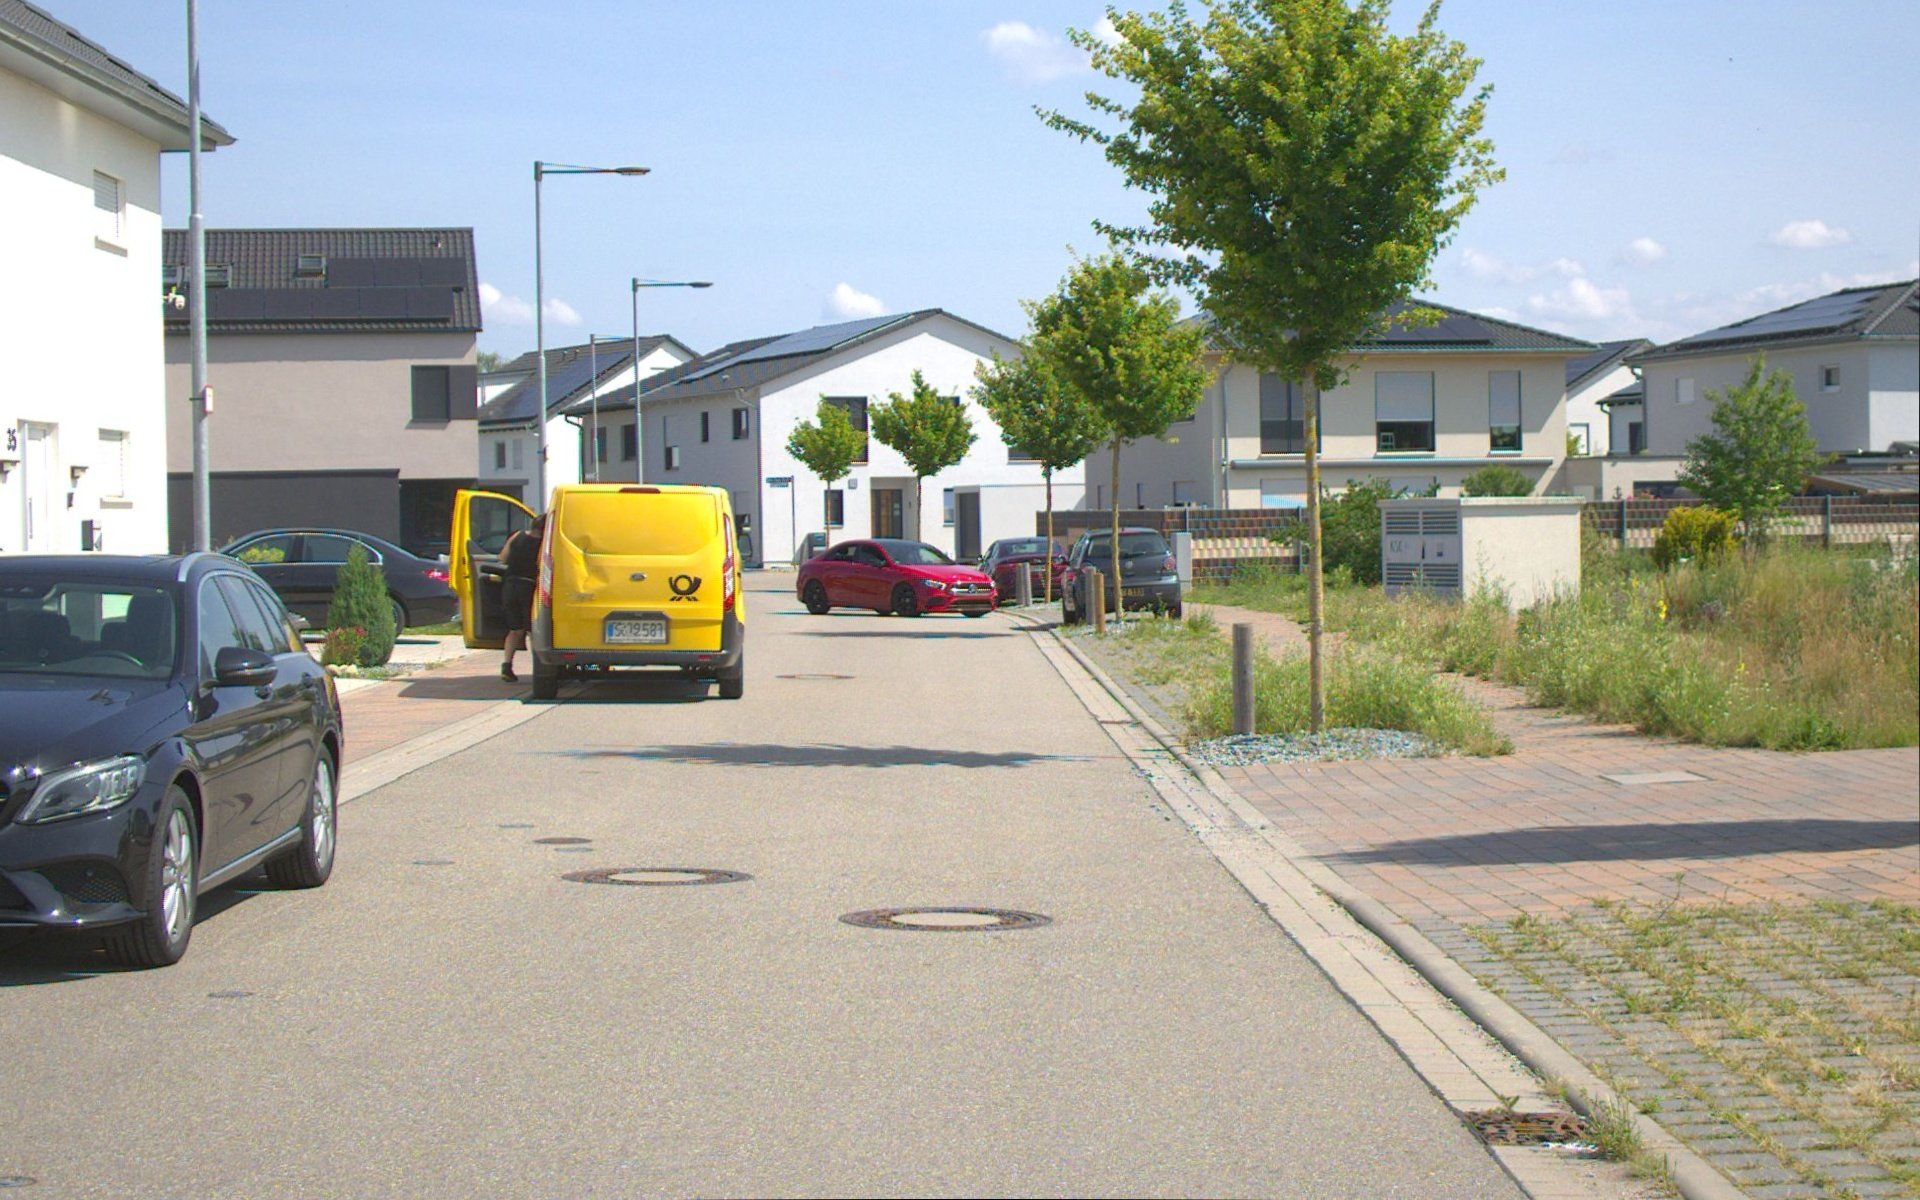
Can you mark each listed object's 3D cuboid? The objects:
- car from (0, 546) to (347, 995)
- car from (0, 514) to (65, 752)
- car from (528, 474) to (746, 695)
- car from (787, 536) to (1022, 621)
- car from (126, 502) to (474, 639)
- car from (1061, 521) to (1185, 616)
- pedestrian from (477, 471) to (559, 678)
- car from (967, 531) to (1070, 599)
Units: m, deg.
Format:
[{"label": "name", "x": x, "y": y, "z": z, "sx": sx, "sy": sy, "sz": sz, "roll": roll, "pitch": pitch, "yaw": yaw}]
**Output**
[{"label": "car", "x": -3.611, "y": 0.522, "z": 13.309, "sx": 1.745, "sy": 1.400, "sz": 4.160, "roll": 2, "pitch": 1, "yaw": -1}, {"label": "car", "x": -8.425, "y": 0.193, "z": 23.563, "sx": 4.069, "sy": 1.576, "sz": 1.784, "roll": 1, "pitch": 2, "yaw": 6}, {"label": "car", "x": -3.067, "y": -0.153, "z": 33.186, "sx": 1.941, "sy": 1.975, "sz": 4.218, "roll": -1, "pitch": 0, "yaw": -4}, {"label": "car", "x": -1.068, "y": -0.431, "z": 63.259, "sx": 1.994, "sy": 1.426, "sz": 4.700, "roll": -1, "pitch": 2, "yaw": -36}, {"label": "car", "x": -8.450, "y": -0.376, "z": 43.934, "sx": 4.159, "sy": 1.499, "sz": 1.816, "roll": 3, "pitch": 0, "yaw": -16}, {"label": "car", "x": 2.490, "y": -0.458, "z": 53.240, "sx": 1.639, "sy": 1.398, "sz": 3.811, "roll": -1, "pitch": 0, "yaw": -1}, {"label": "pedestrian", "x": -4.370, "y": -0.256, "z": 34.028, "sx": 0.651, "sy": 2.007, "sz": 1.124, "roll": -1, "pitch": 0, "yaw": -1}, {"label": "car", "x": 1.189, "y": -0.710, "z": 71.858, "sx": 1.627, "sy": 1.318, "sz": 3.834, "roll": -1, "pitch": -1, "yaw": -7}]
